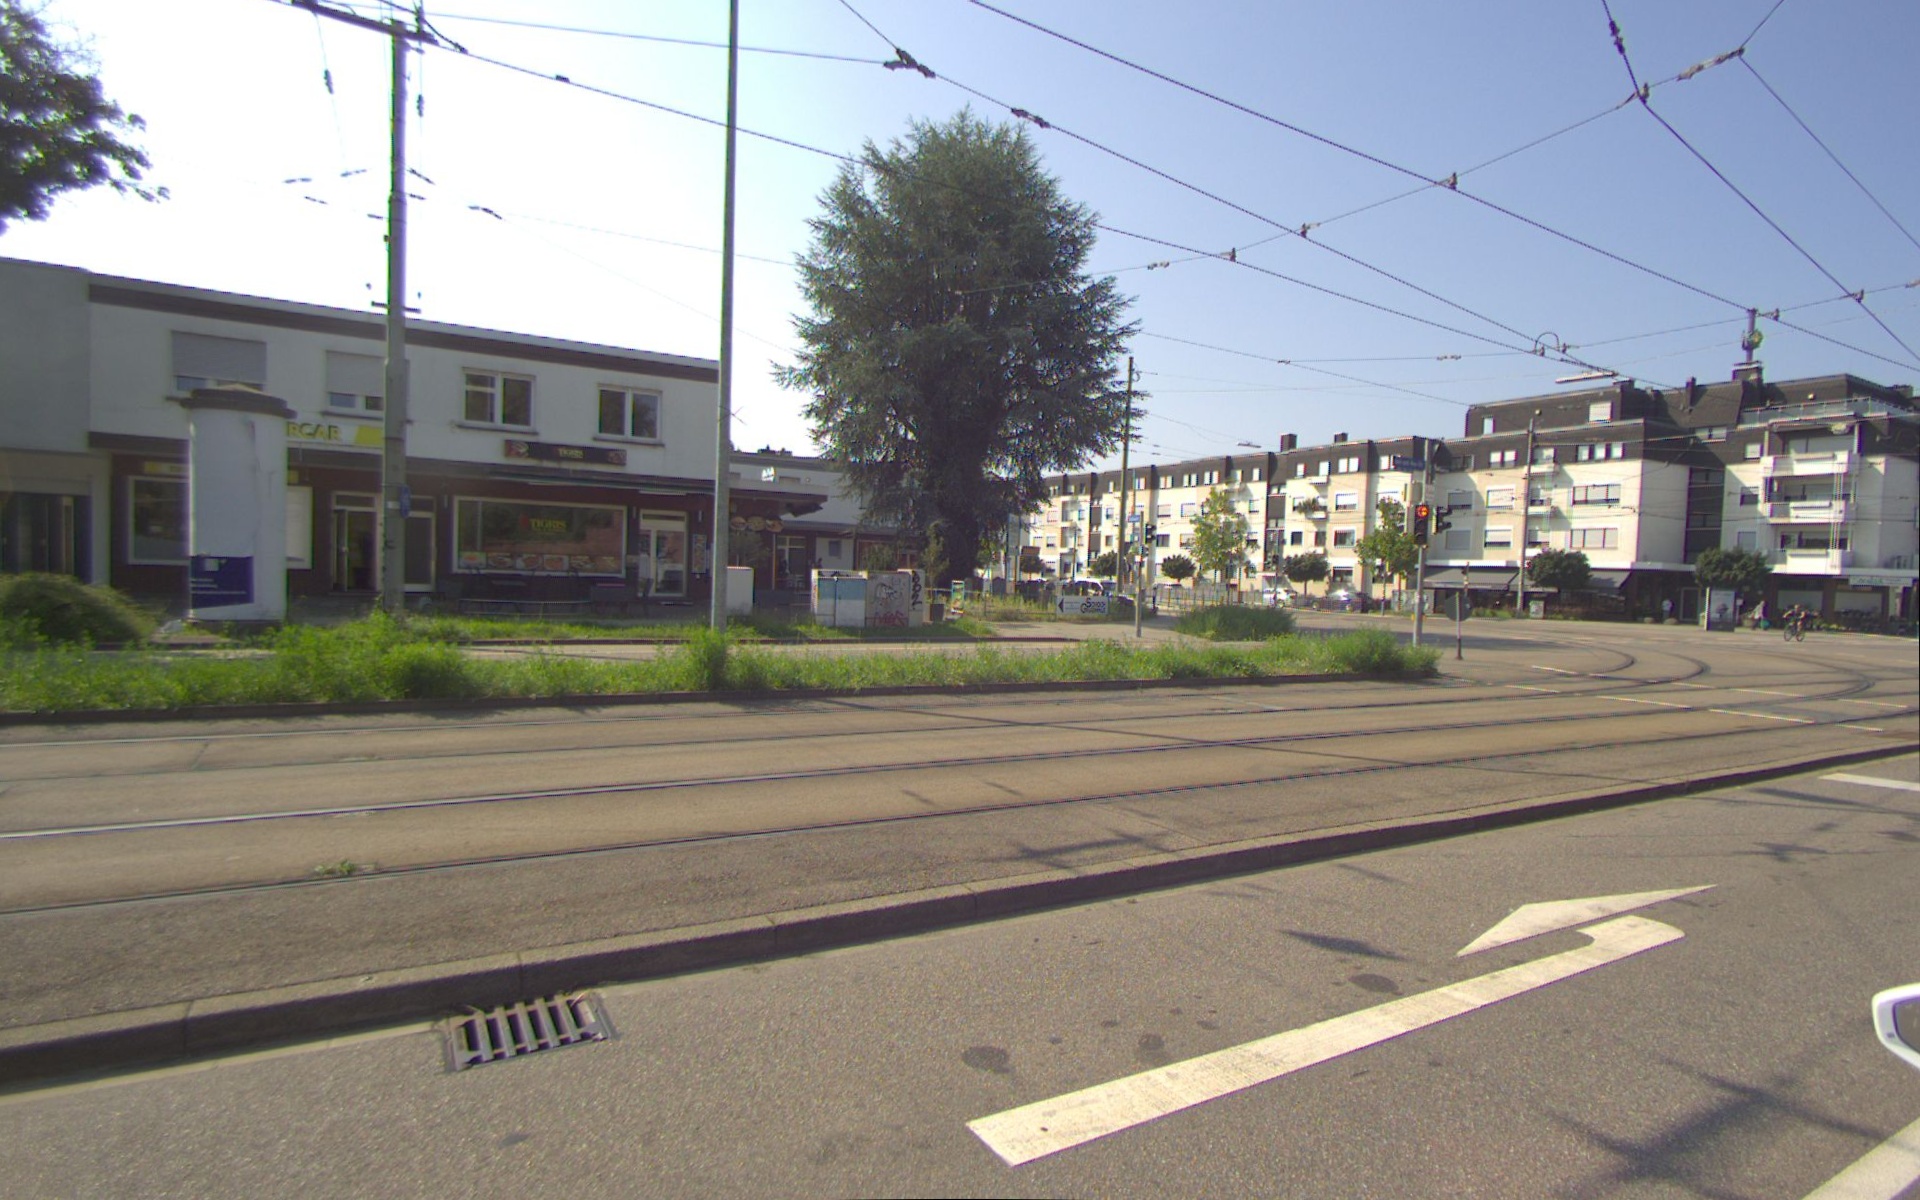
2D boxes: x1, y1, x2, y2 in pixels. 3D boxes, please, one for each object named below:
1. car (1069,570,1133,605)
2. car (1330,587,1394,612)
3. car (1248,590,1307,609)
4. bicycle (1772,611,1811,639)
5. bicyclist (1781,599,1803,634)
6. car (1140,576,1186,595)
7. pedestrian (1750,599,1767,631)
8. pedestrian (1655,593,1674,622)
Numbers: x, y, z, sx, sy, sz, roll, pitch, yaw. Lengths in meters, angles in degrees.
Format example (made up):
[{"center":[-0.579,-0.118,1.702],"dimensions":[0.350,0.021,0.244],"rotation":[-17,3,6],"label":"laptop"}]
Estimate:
[{"center":[8.502,-0.764,61.035],"dimensions":[1.801,1.912,3.996],"rotation":[1,2,-28],"label":"car"},{"center":[29.763,-0.035,74.500],"dimensions":[1.908,1.527,4.088],"rotation":[2,3,-30],"label":"car"},{"center":[23.256,-0.075,73.660],"dimensions":[1.654,1.317,4.089],"rotation":[2,0,-30],"label":"car"},{"center":[36.962,1.120,44.654],"dimensions":[2.181,1.195,0.572],"rotation":[1,0,-29],"label":"bicycle"},{"center":[36.993,0.742,44.663],"dimensions":[0.484,1.543,0.565],"rotation":[1,0,-29],"label":"bicyclist"},{"center":[17.116,-1.216,84.909],"dimensions":[1.654,1.501,3.886],"rotation":[1,0,-30],"label":"car"},{"center":[45.364,0.840,57.065],"dimensions":[0.589,1.768,0.565],"rotation":[1,0,27],"label":"pedestrian"},{"center":[44.122,0.451,62.910],"dimensions":[0.689,1.764,0.676],"rotation":[1,0,-29],"label":"pedestrian"}]
